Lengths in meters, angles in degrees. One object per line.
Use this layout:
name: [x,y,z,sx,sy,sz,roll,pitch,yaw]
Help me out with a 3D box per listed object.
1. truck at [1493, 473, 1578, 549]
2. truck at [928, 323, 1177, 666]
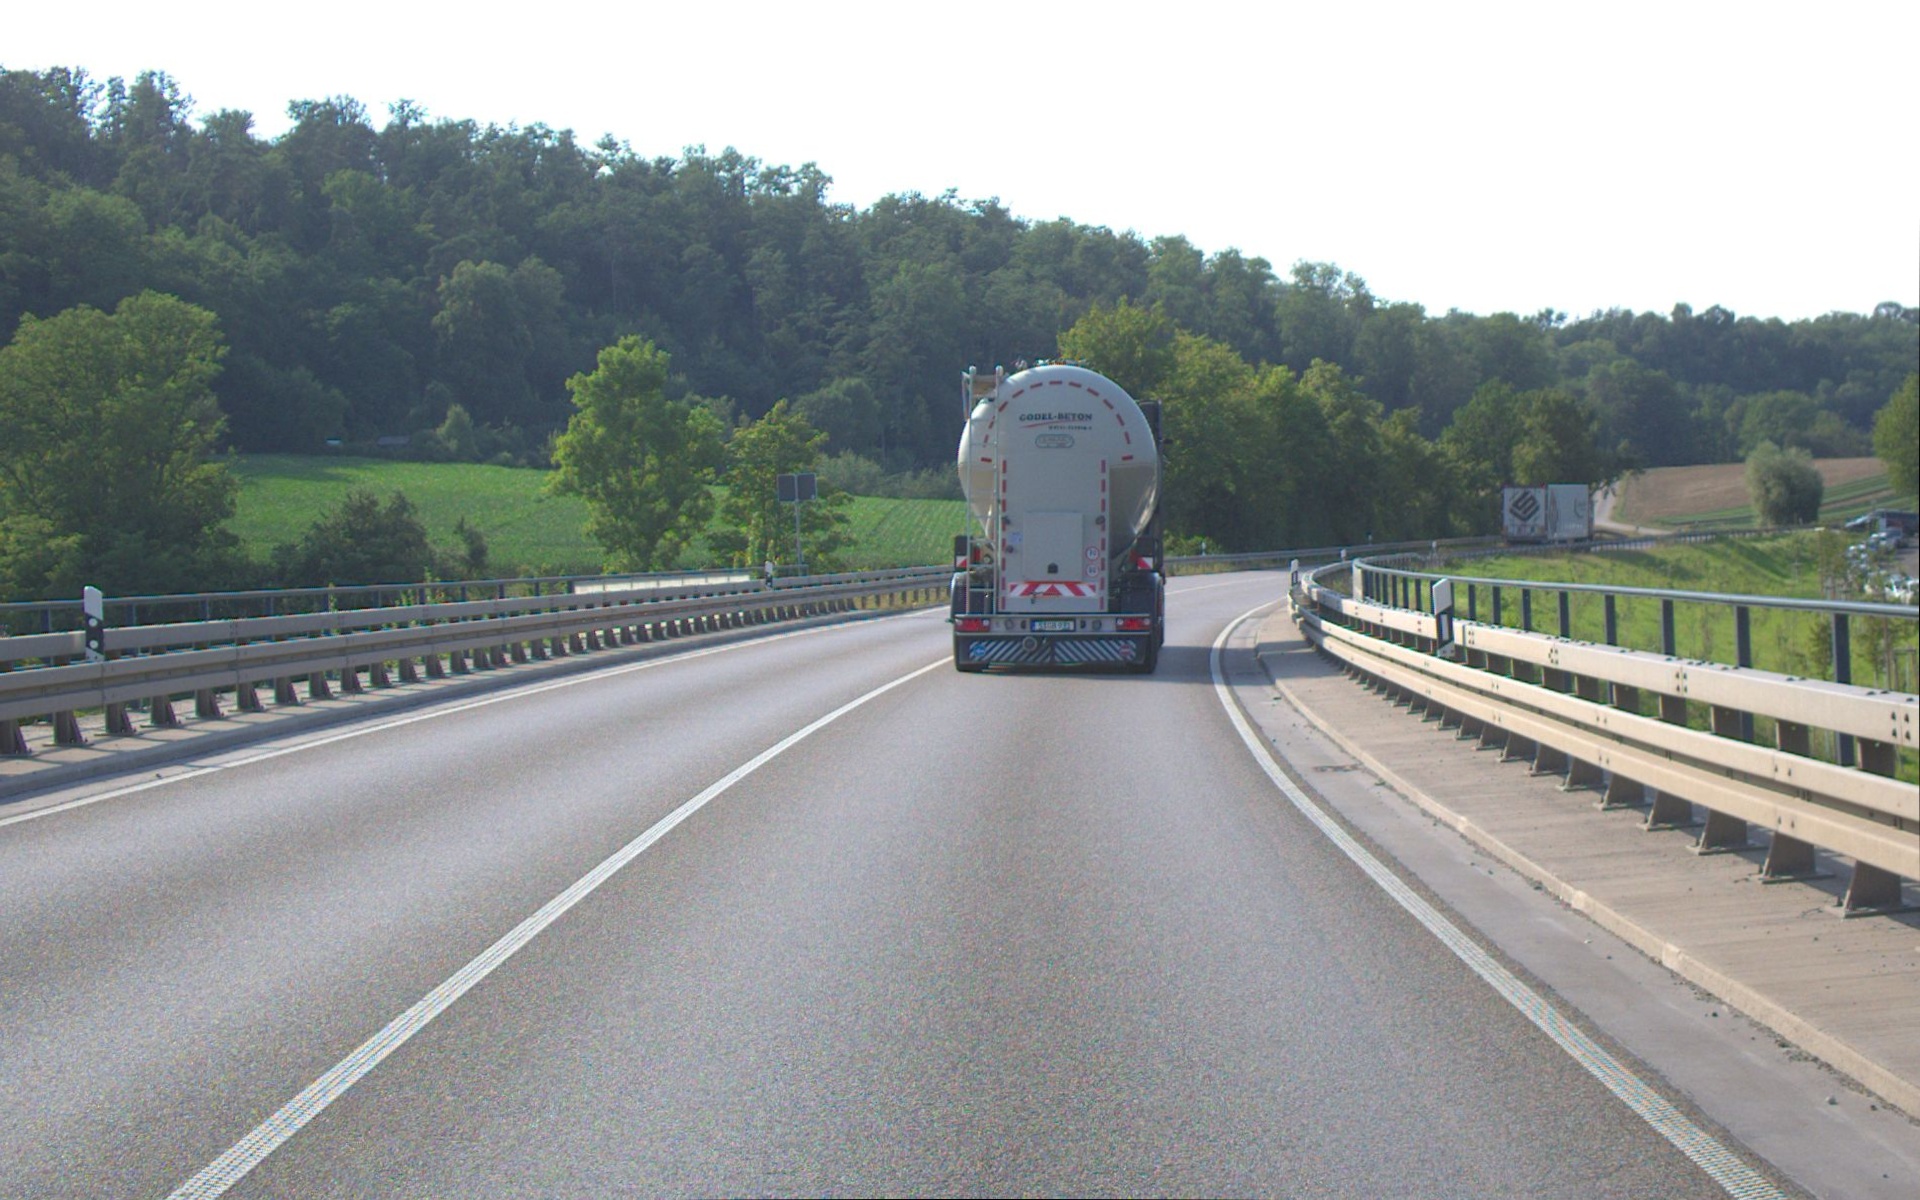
truck: [33.391,-5.241,199.107,3.186,4.213,13.162,0,2,17]
truck: [1.526,-1.354,48.127,2.893,4.128,13.170,1,1,4]
